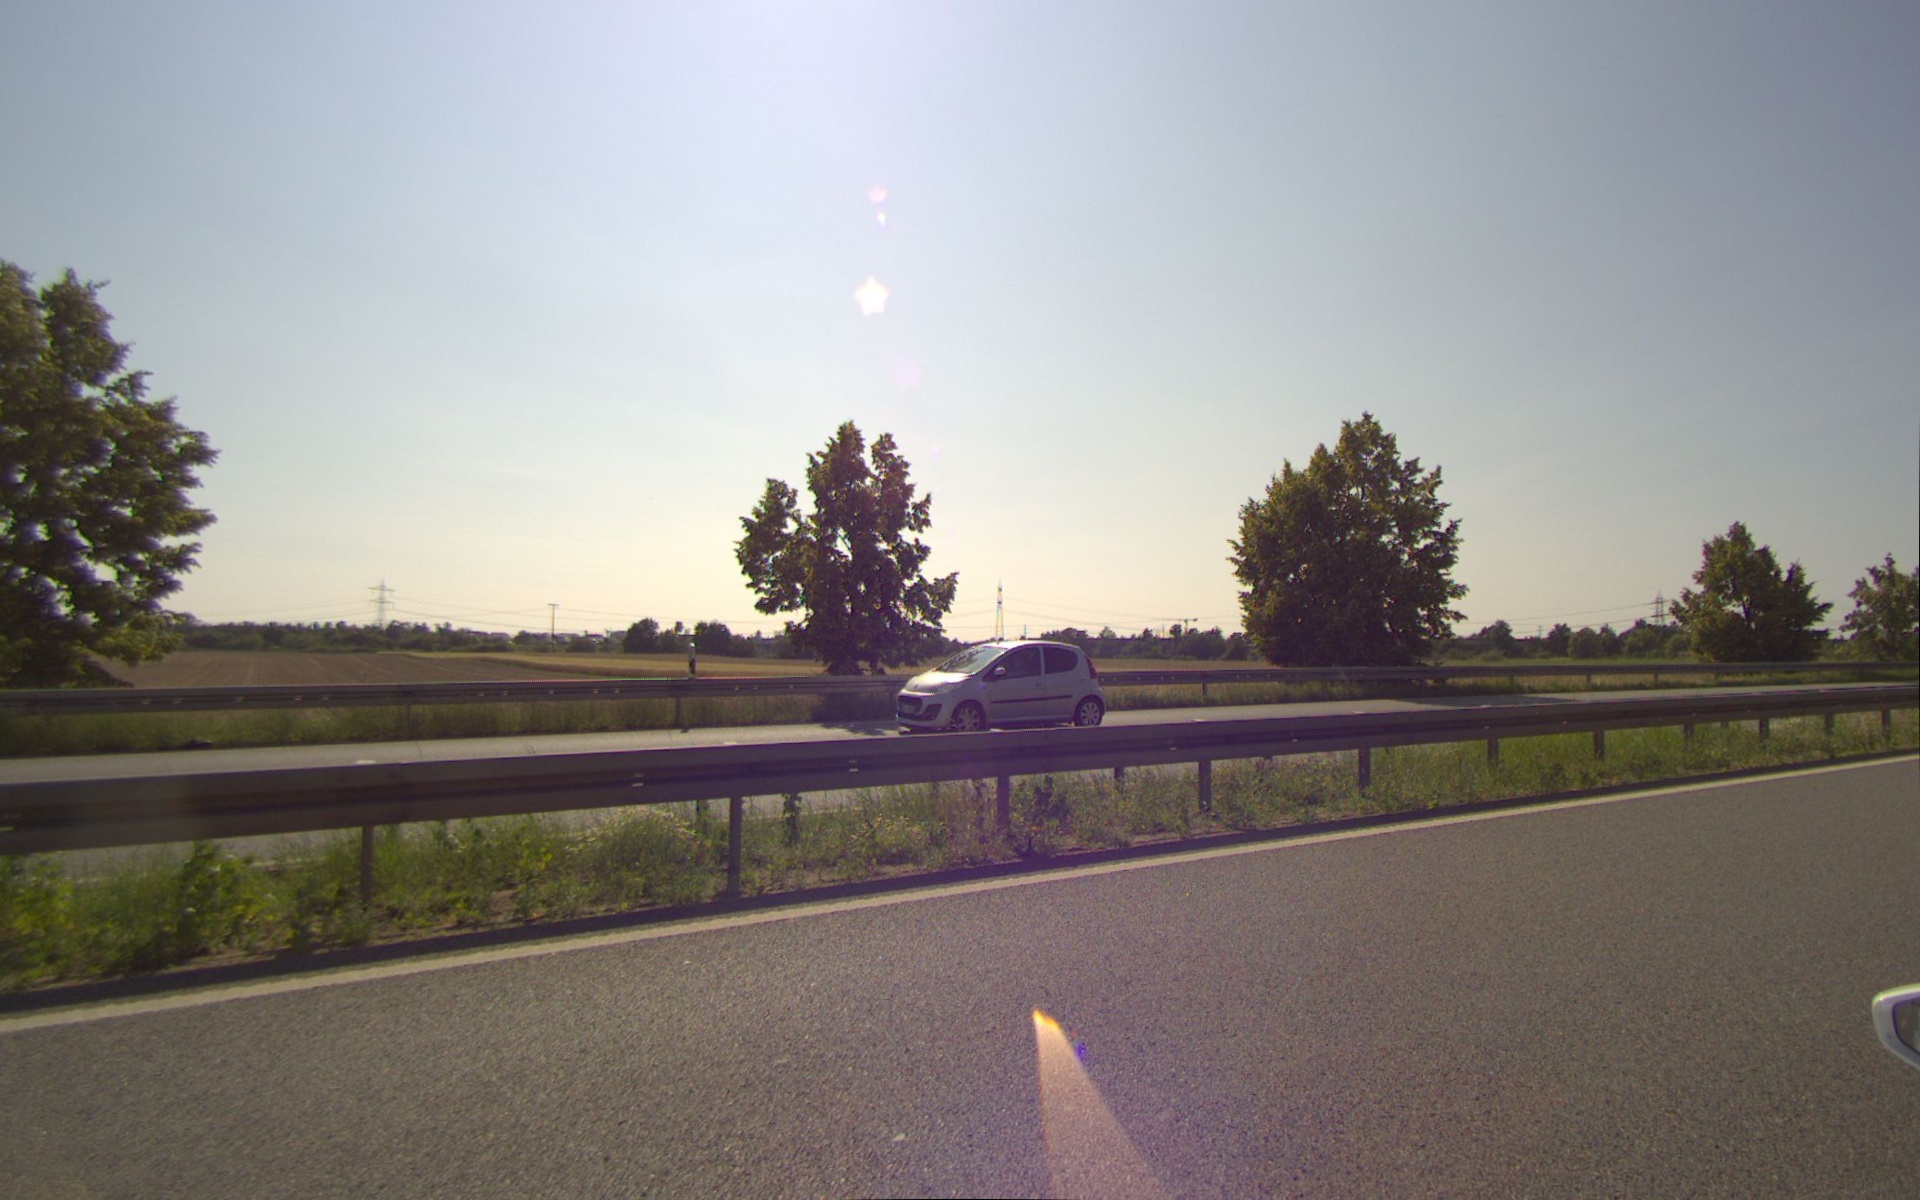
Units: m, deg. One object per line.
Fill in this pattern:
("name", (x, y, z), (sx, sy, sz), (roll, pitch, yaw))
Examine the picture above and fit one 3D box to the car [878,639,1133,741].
("car", (0.776, 1.391, 16.422), (3.894, 1.456, 1.682), (1, -1, -31))
